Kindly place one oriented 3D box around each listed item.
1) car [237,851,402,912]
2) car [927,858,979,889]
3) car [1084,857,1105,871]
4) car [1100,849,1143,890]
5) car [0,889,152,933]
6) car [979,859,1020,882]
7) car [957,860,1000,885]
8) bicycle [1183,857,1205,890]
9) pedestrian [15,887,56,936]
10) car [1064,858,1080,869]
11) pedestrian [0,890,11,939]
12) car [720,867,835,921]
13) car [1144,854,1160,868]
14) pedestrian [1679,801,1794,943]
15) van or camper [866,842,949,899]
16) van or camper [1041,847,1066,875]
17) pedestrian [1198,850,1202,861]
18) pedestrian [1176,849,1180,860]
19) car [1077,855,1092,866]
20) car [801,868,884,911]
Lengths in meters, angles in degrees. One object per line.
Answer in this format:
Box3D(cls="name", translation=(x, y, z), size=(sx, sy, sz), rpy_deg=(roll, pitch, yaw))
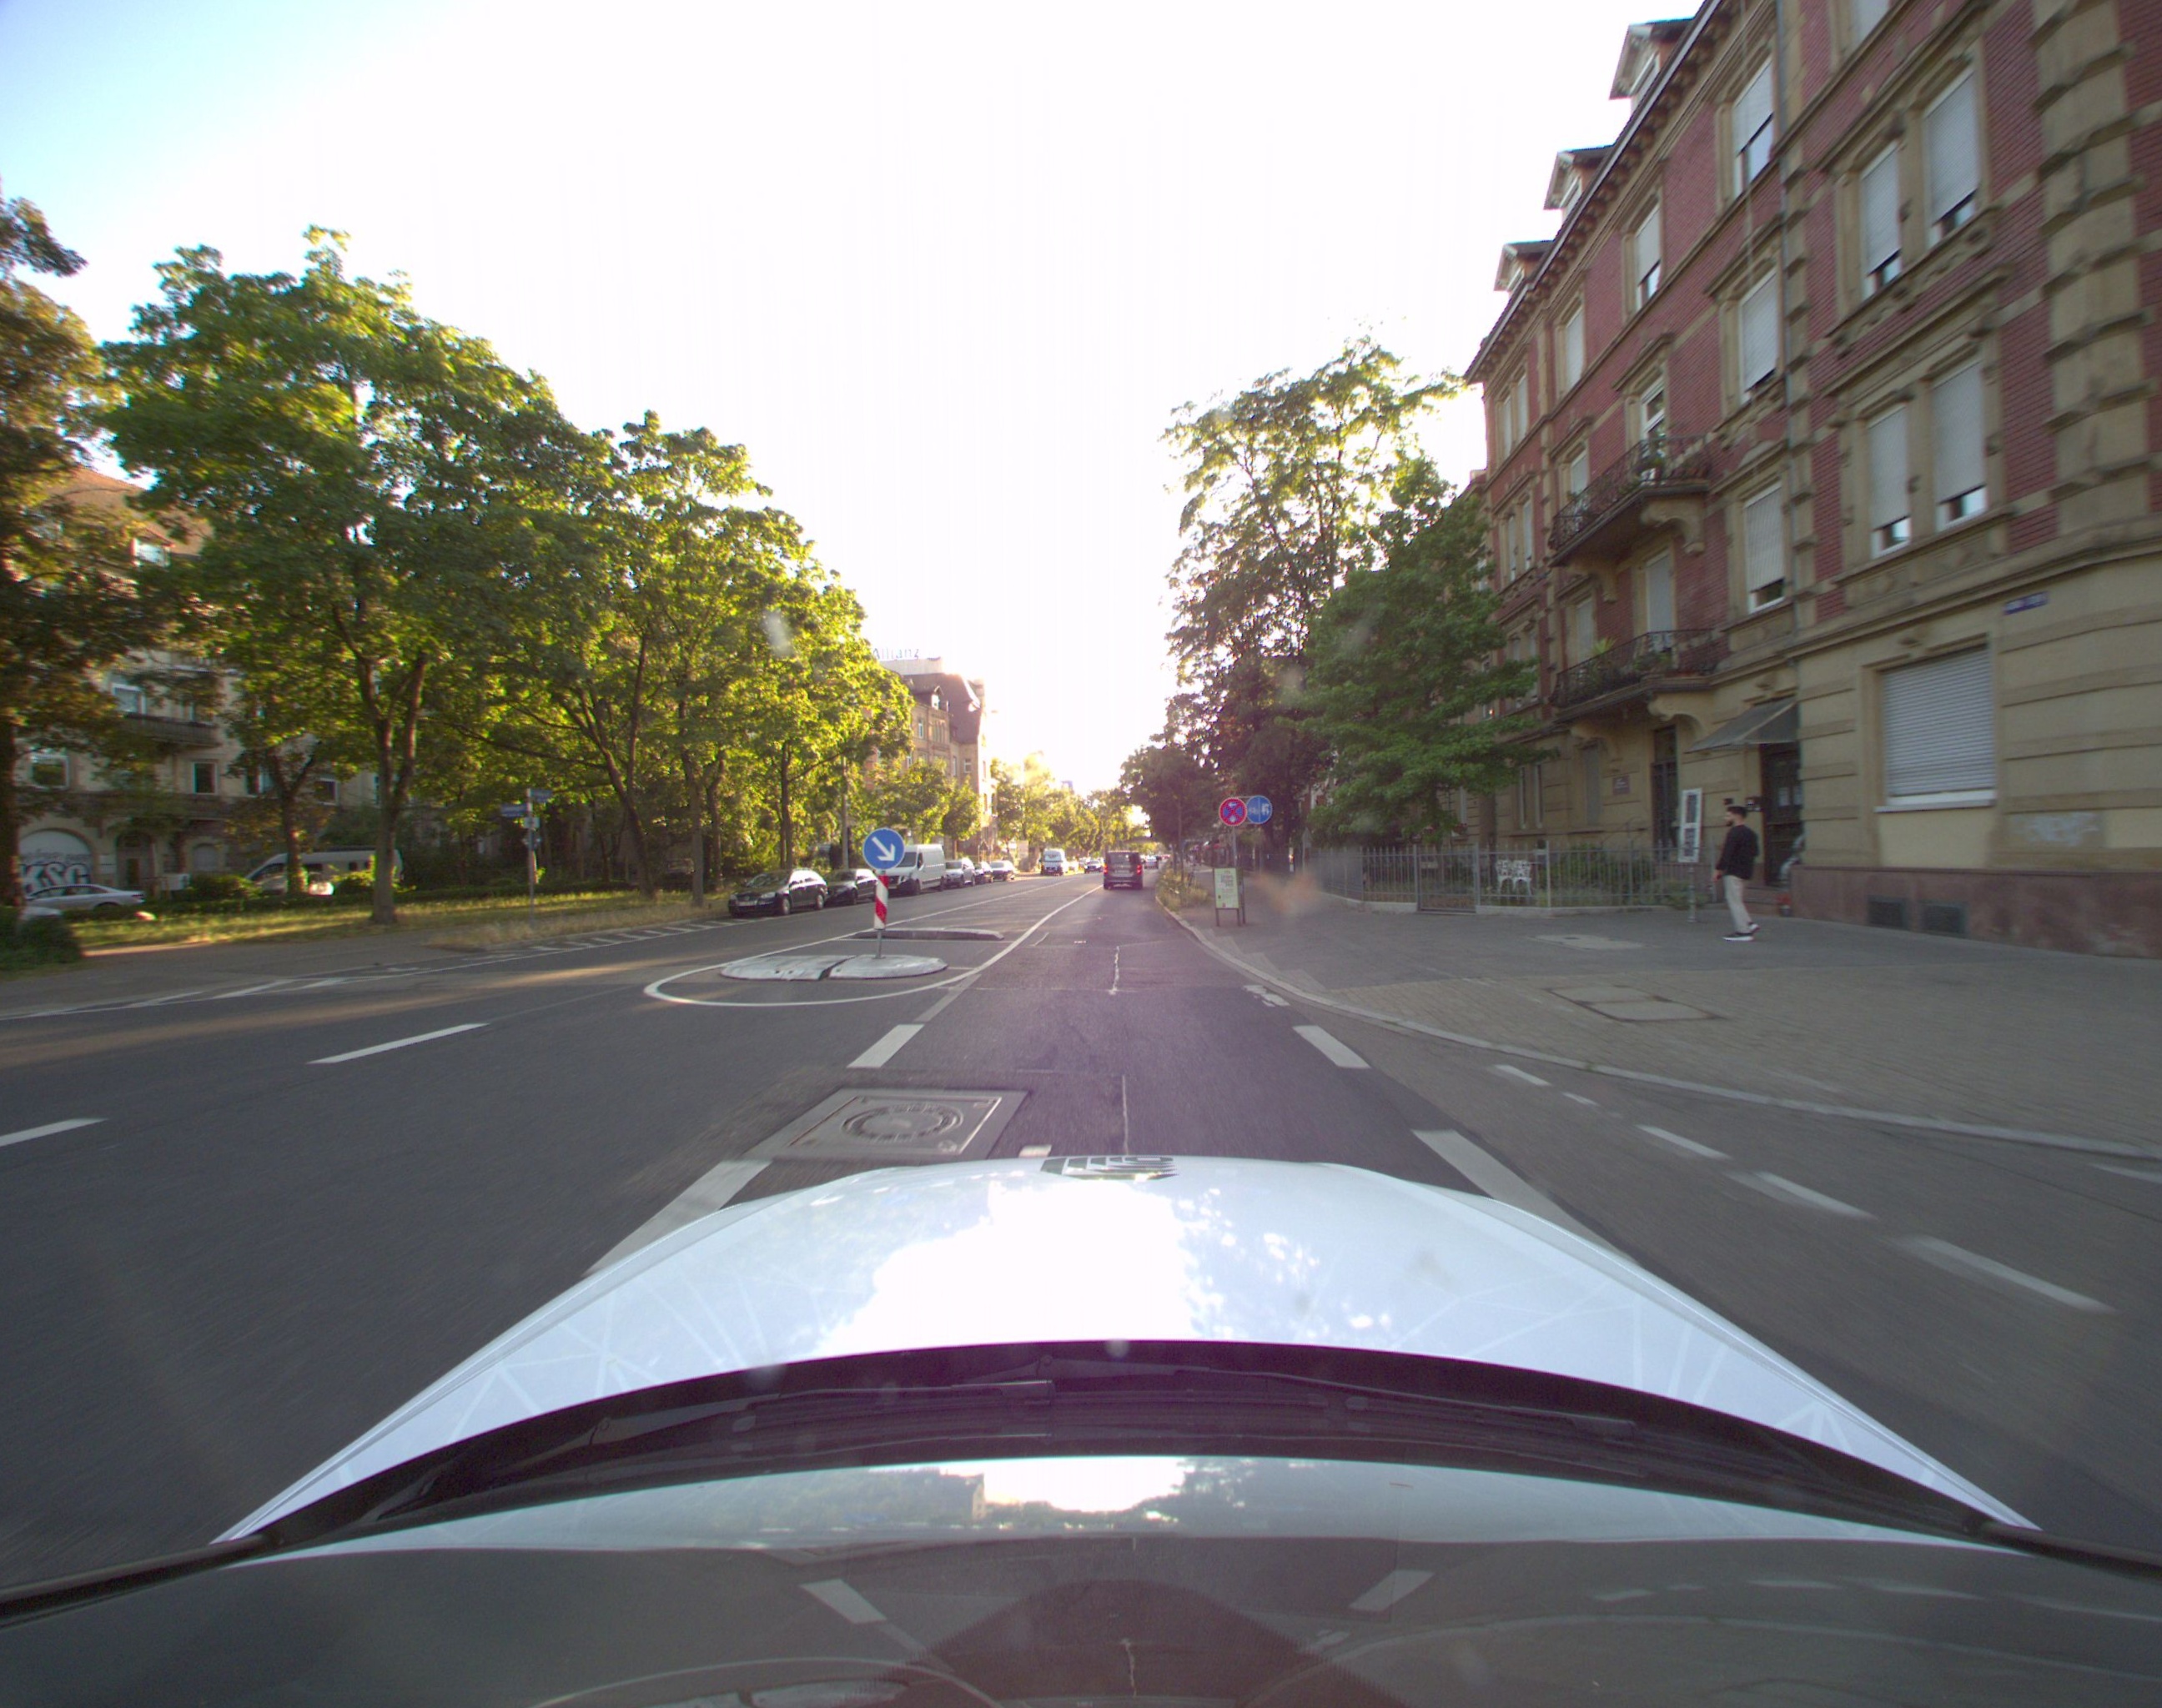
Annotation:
Box3D(cls="car", translation=(-34.896, 1.200, 37.481), size=(2.244, 2.485, 5.267), rpy_deg=(-2, 0, 40))
Box3D(cls="car", translation=(-7.420, 1.101, 47.587), size=(1.856, 1.645, 4.578), rpy_deg=(-2, 0, 6))
Box3D(cls="car", translation=(1.515, 1.089, 90.432), size=(1.757, 1.402, 4.553), rpy_deg=(-2, 0, 6))
Box3D(cls="car", translation=(2.093, 0.722, 41.093), size=(1.878, 1.925, 3.845), rpy_deg=(-2, 0, 5))
Box3D(cls="car", translation=(-39.577, 2.209, 31.970), size=(1.870, 1.398, 4.025), rpy_deg=(-2, 0, 40))
Box3D(cls="car", translation=(-5.922, 1.162, 59.443), size=(1.983, 1.483, 4.837), rpy_deg=(-2, 0, 6))
Box3D(cls="car", translation=(-6.618, 1.196, 53.137), size=(1.727, 1.445, 4.633), rpy_deg=(-2, 0, 6))
Box3D(cls="bicycle", translation=(4.211, 0.704, 30.422), size=(0.643, 1.167, 1.932), rpy_deg=(0, 0, 2))
Box3D(cls="pedestrian", translation=(-31.044, 1.711, 24.185), size=(0.455, 1.396, 0.558), rpy_deg=(-2, 0, -1))
Box3D(cls="car", translation=(-1.009, 1.093, 94.266), size=(1.528, 1.248, 3.619), rpy_deg=(0, 0, 5))
Box3D(cls="pedestrian", translation=(-31.461, 1.768, 23.469), size=(0.455, 1.396, 0.558), rpy_deg=(-2, 0, -1))
Box3D(cls="car", translation=(-9.878, 1.244, 26.943), size=(1.615, 1.506, 4.552), rpy_deg=(-2, 0, 6))
Box3D(cls="car", translation=(9.177, 0.878, 105.913), size=(1.984, 1.634, 4.006), rpy_deg=(-2, 0, 5))
Box3D(cls="pedestrian", translation=(8.787, 0.237, 10.950), size=(0.742, 1.778, 0.832), rpy_deg=(-5, 0, 2))
Box3D(cls="van or camper", translation=(-8.410, 0.737, 40.181), size=(2.081, 2.468, 6.315), rpy_deg=(-3, 0, 5))
Box3D(cls="van or camper", translation=(-2.652, 0.640, 80.035), size=(1.986, 2.668, 6.041), rpy_deg=(0, 0, 2))
Box3D(cls="pedestrian", translation=(17.724, 0.202, 121.215), size=(0.641, 1.633, 0.657), rpy_deg=(0, 0, 6))
Box3D(cls="pedestrian", translation=(16.896, 0.043, 141.693), size=(0.504, 1.888, 0.544), rpy_deg=(0, 0, -9))
Box3D(cls="car", translation=(0.474, 0.850, 109.203), size=(1.688, 1.451, 4.006), rpy_deg=(0, 0, 5))
Box3D(cls="car", translation=(-9.292, 1.343, 32.132), size=(1.620, 1.429, 4.249), rpy_deg=(-3, 0, 5))
